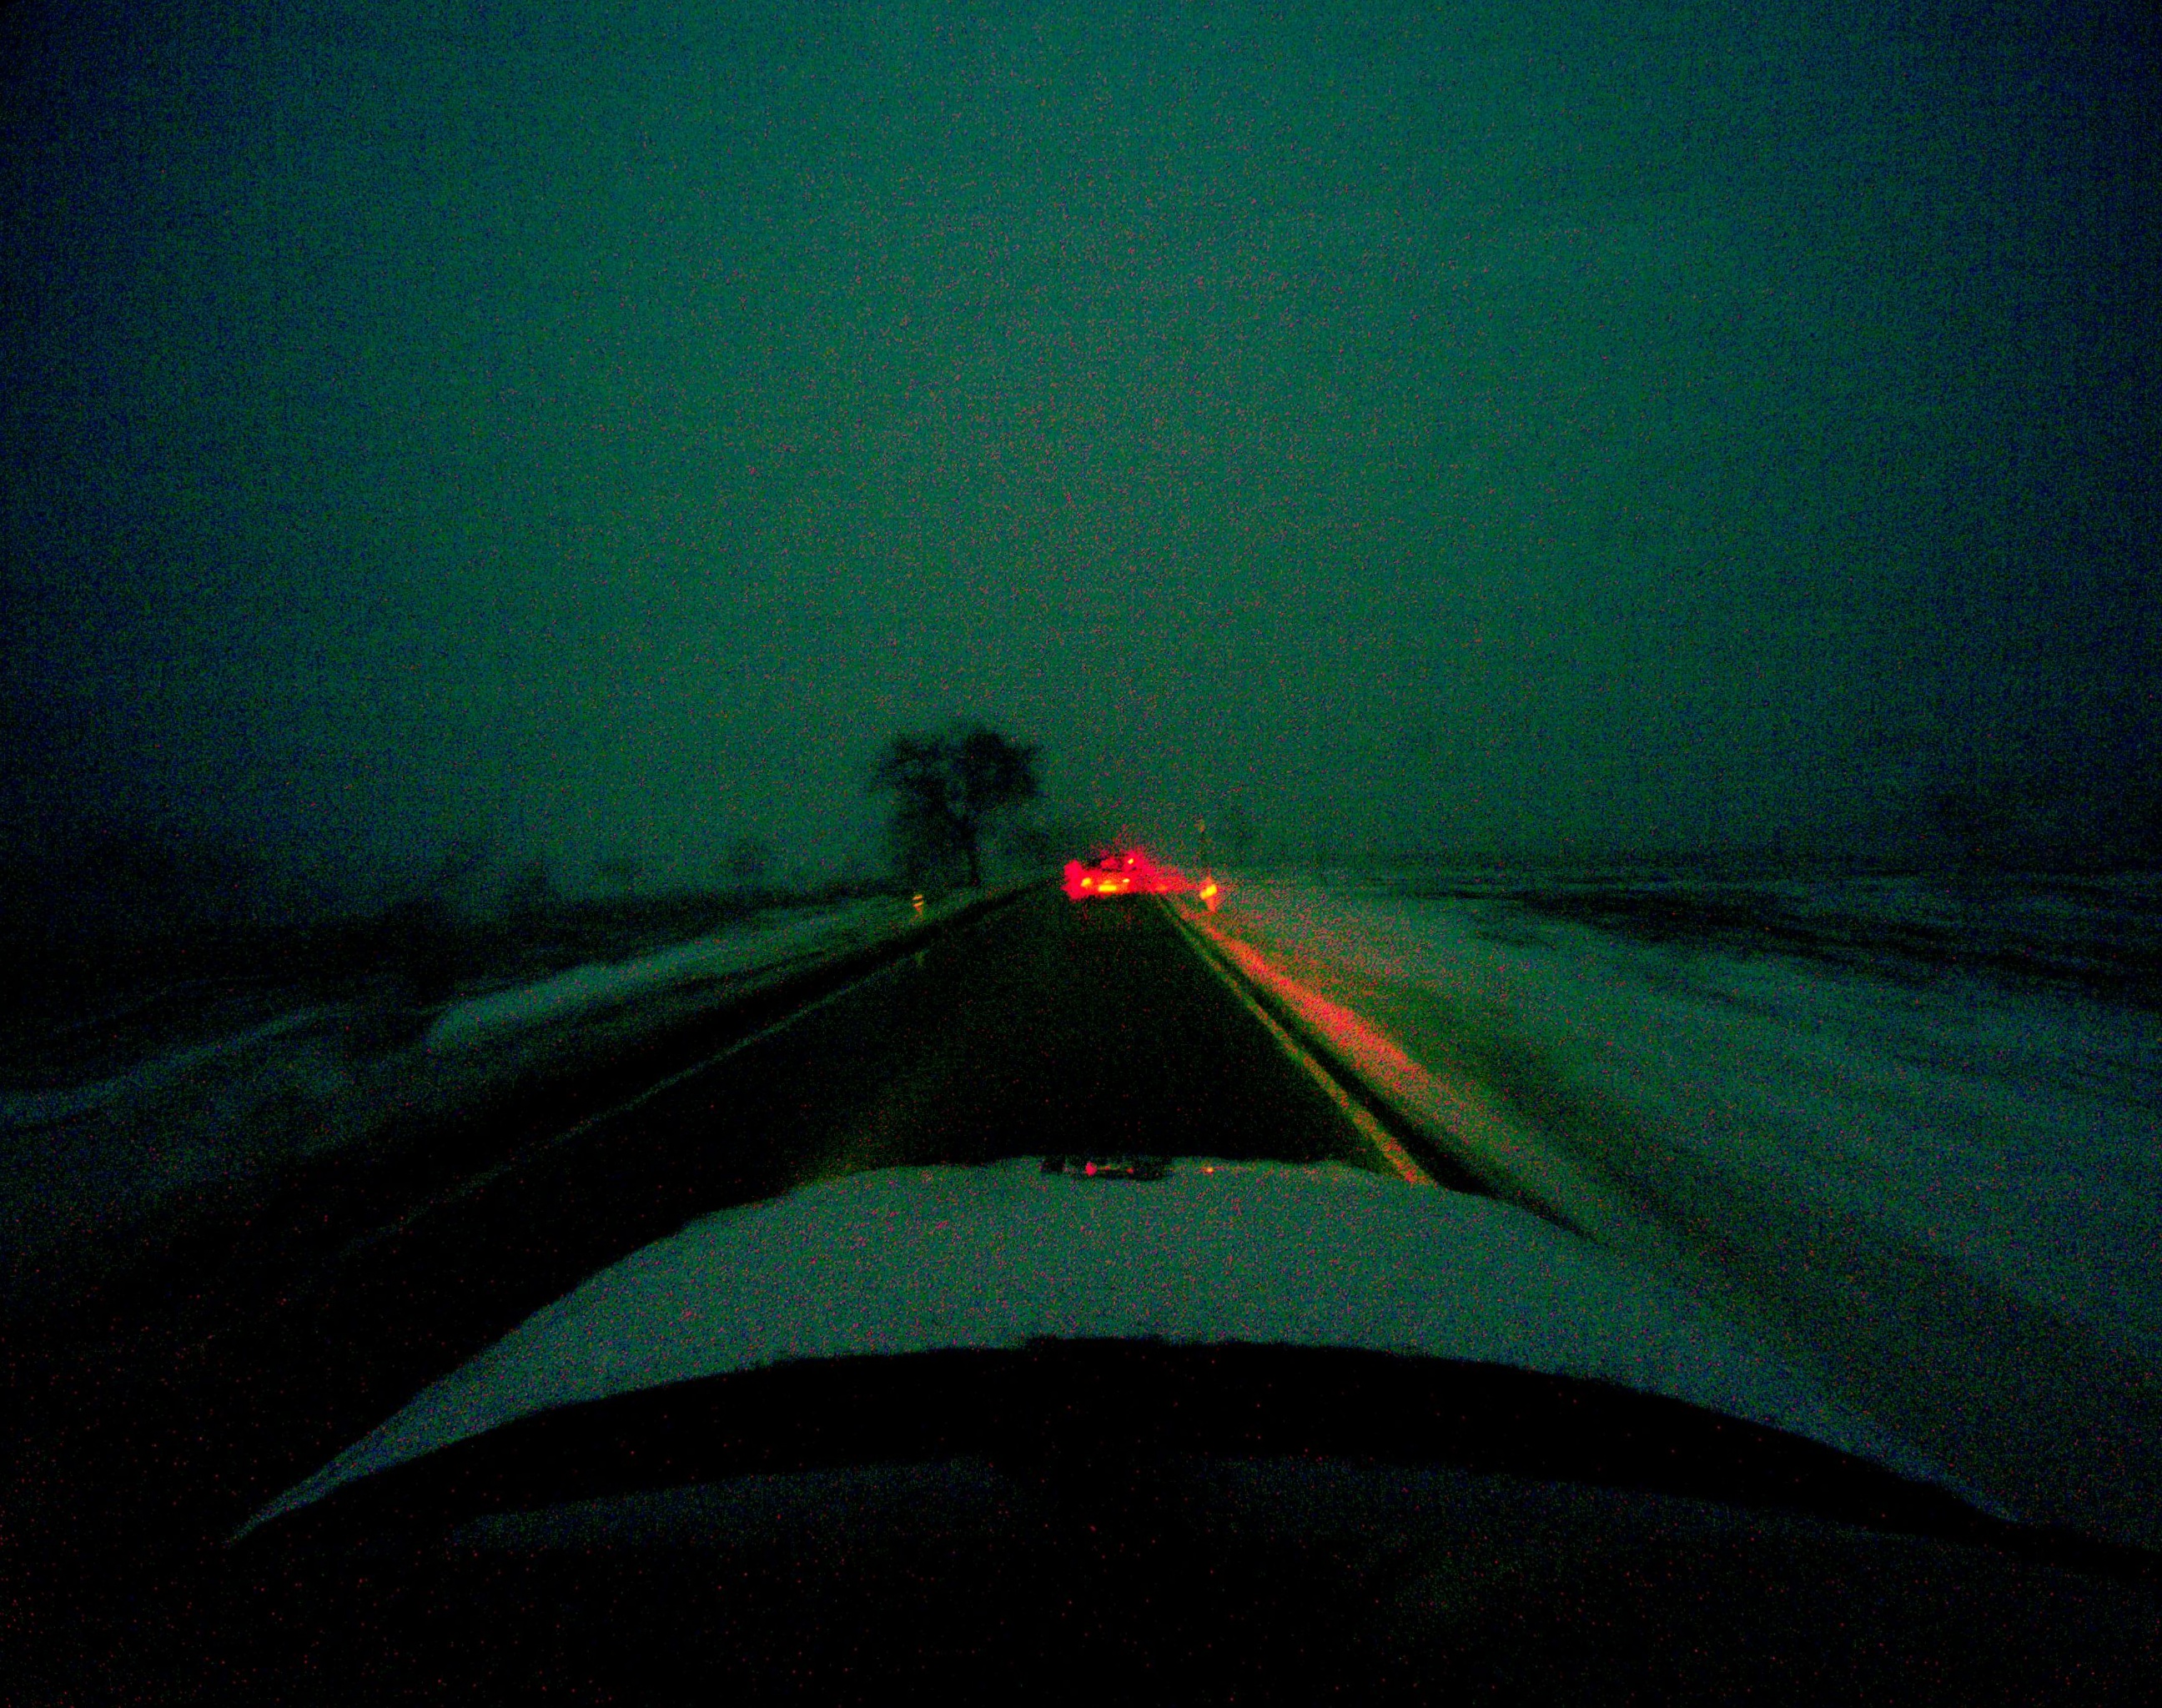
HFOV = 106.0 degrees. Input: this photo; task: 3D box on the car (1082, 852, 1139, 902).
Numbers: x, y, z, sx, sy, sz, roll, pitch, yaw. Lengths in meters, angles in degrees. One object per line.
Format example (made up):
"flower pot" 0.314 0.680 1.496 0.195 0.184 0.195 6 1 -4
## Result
"car" 0.953 0.705 26.171 1.700 1.463 4.002 -1 -1 2
